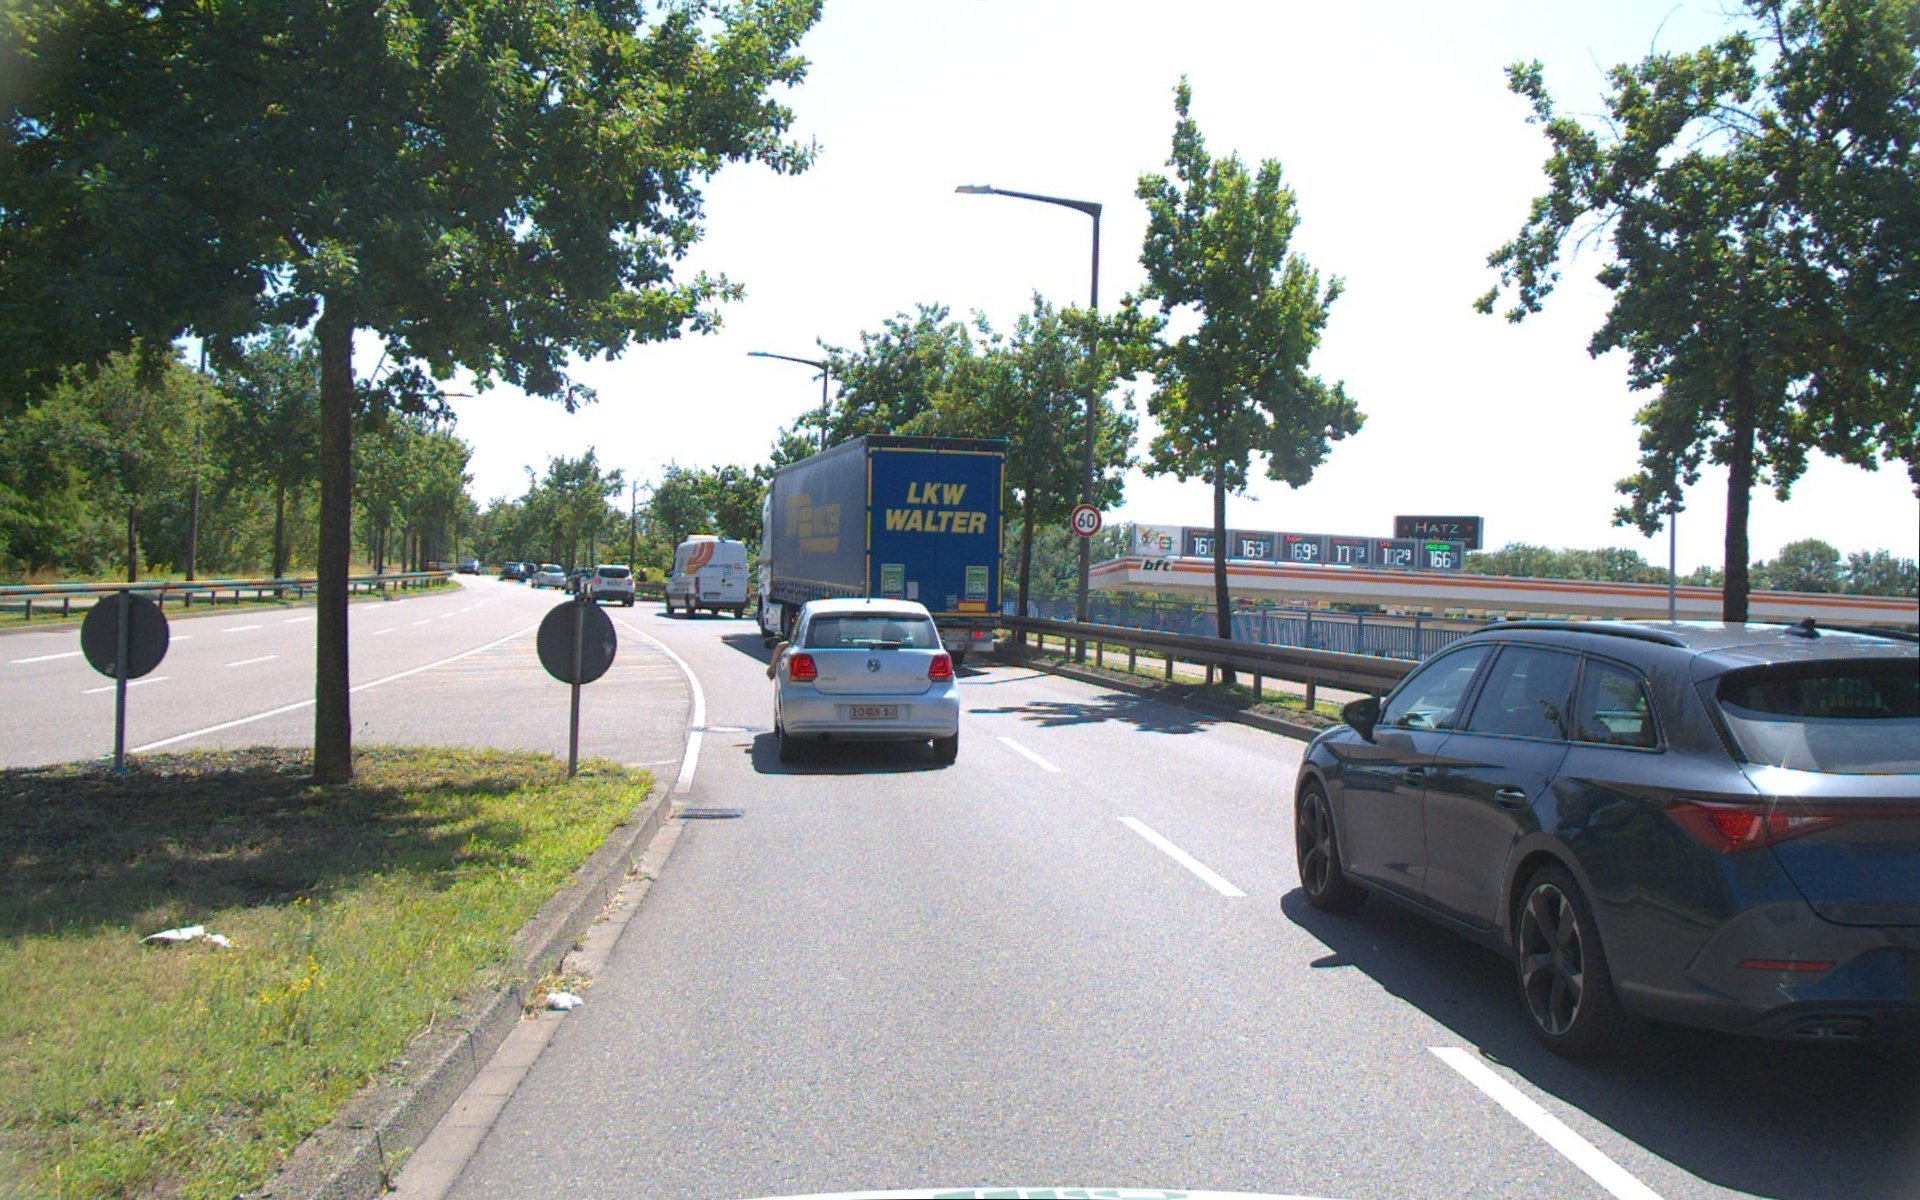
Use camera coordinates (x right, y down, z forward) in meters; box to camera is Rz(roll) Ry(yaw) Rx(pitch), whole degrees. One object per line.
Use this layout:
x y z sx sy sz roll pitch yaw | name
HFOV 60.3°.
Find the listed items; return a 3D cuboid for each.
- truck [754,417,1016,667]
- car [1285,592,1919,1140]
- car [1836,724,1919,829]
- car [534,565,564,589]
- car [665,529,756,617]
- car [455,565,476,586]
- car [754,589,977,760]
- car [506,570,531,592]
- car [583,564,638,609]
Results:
-2.276 -0.985 36.883 2.784 4.272 16.417 2 0 -13 | truck
2.710 0.777 6.682 1.573 1.481 4.229 1 -1 -6 | car
14.001 2.477 22.642 1.450 1.331 3.272 2 -2 -38 | car
-25.275 -1.398 101.689 1.582 1.384 3.645 2 0 -17 | car
-9.045 -0.974 59.489 2.142 2.951 6.326 2 1 -18 | car
-43.256 -2.142 144.713 1.651 1.700 3.740 1 2 -15 | car
-1.024 0.683 16.120 1.617 1.464 3.526 2 -1 -12 | car
-32.844 -1.433 123.115 1.636 1.491 3.569 2 -1 -13 | car
-14.726 -0.533 69.512 1.873 1.748 4.204 2 -1 -17 | car
